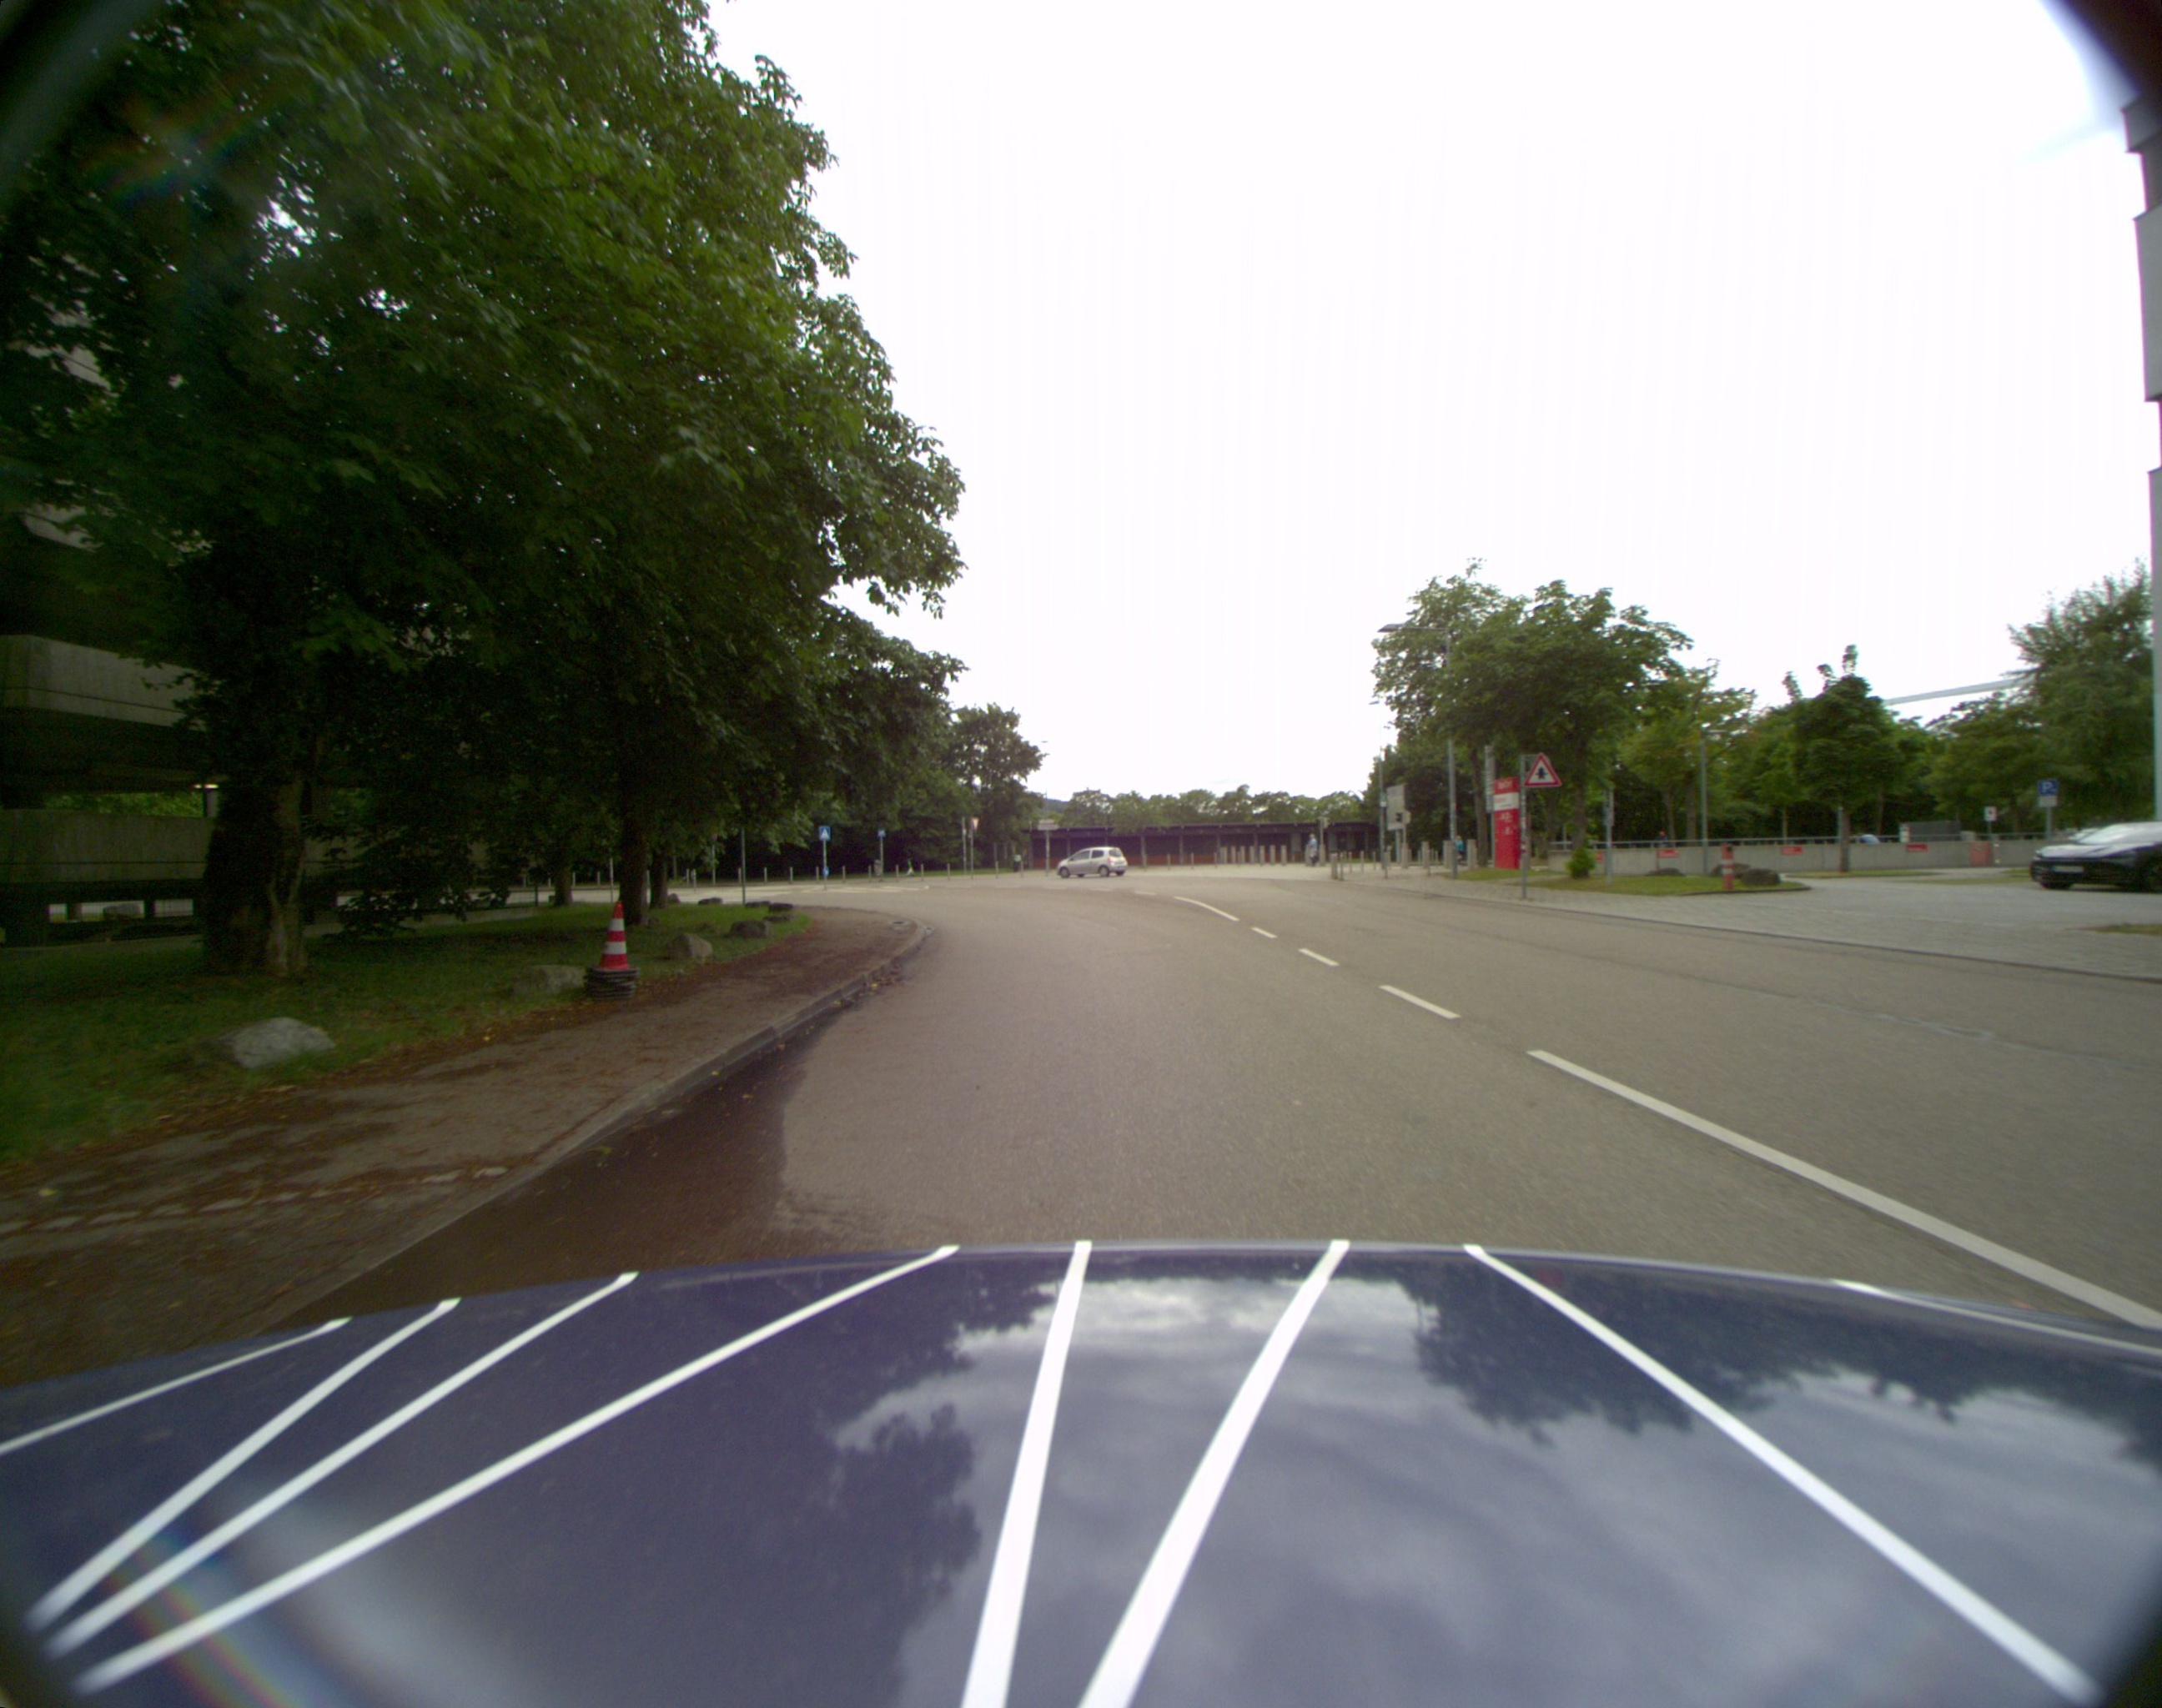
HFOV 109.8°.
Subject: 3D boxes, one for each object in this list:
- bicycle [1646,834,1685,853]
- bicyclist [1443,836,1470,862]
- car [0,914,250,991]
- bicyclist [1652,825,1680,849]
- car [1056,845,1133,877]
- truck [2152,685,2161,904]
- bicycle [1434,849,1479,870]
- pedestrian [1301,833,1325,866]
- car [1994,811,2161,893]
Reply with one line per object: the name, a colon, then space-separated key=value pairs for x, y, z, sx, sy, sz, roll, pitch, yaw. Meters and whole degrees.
bicycle: x=37.714 y=-0.676 z=49.015 sx=2.051 sy=1.137 sz=0.777 roll=-3 pitch=3 yaw=-10
bicyclist: x=21.685 y=-0.305 z=43.940 sx=1.159 sy=1.422 sz=0.742 roll=-2 pitch=2 yaw=-3
car: x=-25.751 y=2.572 z=20.587 sx=1.876 sy=1.445 sz=4.000 roll=-2 pitch=1 yaw=4
bicyclist: x=37.692 y=-1.118 z=48.997 sx=1.101 sy=1.487 sz=0.926 roll=-3 pitch=3 yaw=-10
car: x=0.672 y=0.358 z=38.217 sx=3.493 sy=1.448 sz=1.610 roll=-1 pitch=2 yaw=35
truck: x=19.268 y=-0.939 z=8.462 sx=2.684 sy=3.580 sz=8.361 roll=-2 pitch=1 yaw=-2
bicycle: x=21.703 y=0.295 z=43.958 sx=2.257 sy=1.117 sz=0.748 roll=-2 pitch=2 yaw=-3
pedestrian: x=13.473 y=-0.284 z=44.110 sx=1.200 sy=1.824 sz=0.928 roll=-2 pitch=3 yaw=11
car: x=24.812 y=-0.125 z=17.531 sx=5.334 sy=1.683 sz=2.097 roll=-2 pitch=2 yaw=-5
